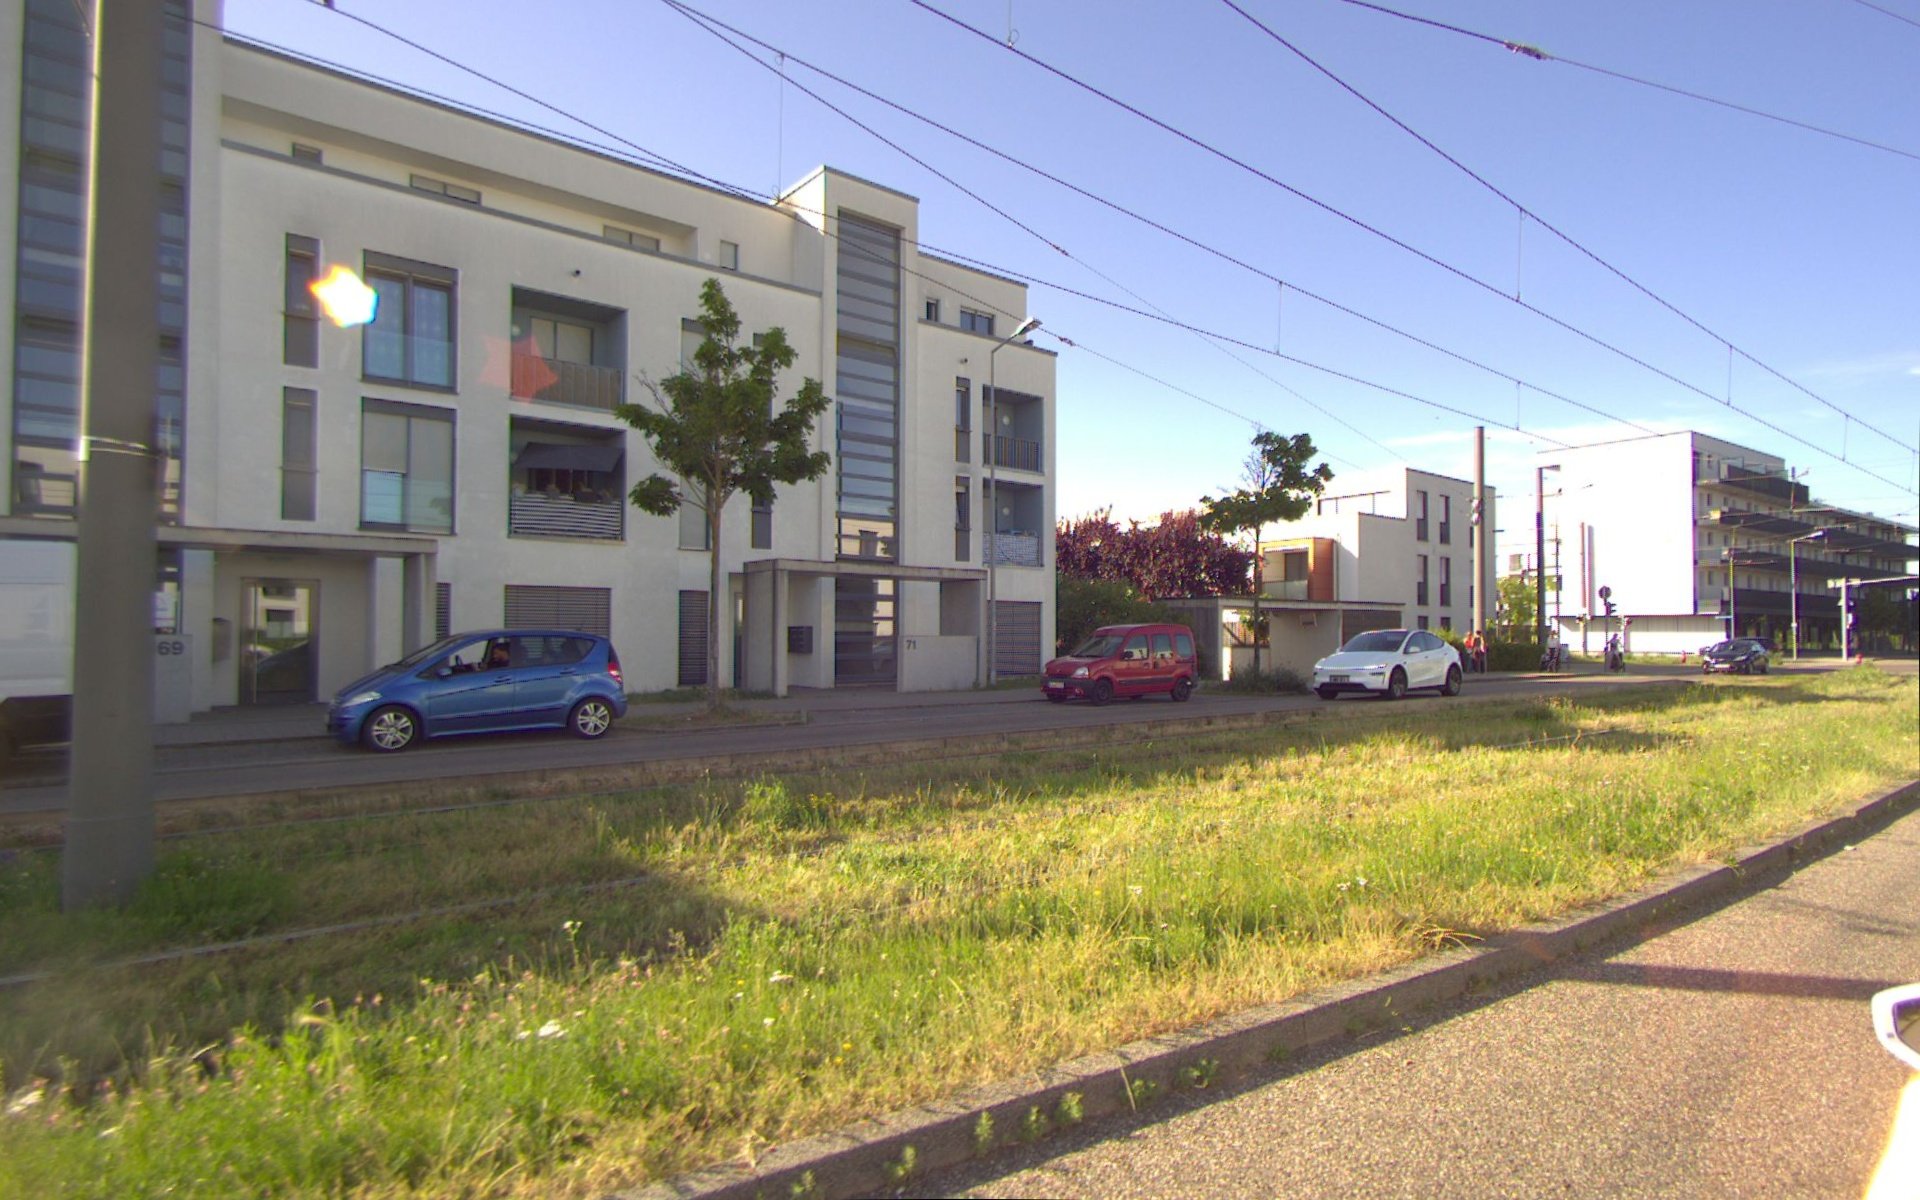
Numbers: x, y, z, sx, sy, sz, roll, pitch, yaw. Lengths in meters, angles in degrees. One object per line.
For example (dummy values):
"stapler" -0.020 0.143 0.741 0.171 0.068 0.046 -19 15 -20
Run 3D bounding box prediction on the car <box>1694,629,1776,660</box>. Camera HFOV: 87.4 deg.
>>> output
"car" 51.975 2.987 67.455 3.924 2.040 1.999 -1 -2 25

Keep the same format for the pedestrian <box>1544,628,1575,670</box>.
"pedestrian" 25.526 2.072 42.756 0.899 1.771 0.811 1 0 -32

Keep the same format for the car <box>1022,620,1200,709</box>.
"car" 3.465 1.389 22.800 3.802 1.819 1.867 1 -1 -37

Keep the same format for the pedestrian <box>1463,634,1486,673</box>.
"pedestrian" 20.105 2.068 39.238 0.606 1.483 0.553 1 0 -36

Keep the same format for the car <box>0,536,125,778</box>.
"car" -11.886 0.550 9.923 5.544 2.477 2.122 1 -1 -40

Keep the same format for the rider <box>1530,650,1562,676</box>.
"rider" 24.628 2.644 42.198 1.034 1.016 0.773 1 0 -33

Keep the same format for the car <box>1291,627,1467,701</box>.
"car" 10.087 1.493 24.057 4.609 1.616 1.977 1 -4 -40

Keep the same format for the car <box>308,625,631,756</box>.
"car" -6.846 1.155 14.169 3.808 1.557 1.810 1 -1 -38

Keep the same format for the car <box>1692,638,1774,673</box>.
"car" 33.210 2.357 43.142 3.963 1.437 1.775 1 -4 -37

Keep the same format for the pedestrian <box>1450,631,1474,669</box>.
"pedestrian" 19.843 1.964 39.732 0.735 1.483 0.553 1 0 -36

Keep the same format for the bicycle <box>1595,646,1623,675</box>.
"bicycle" 30.139 2.784 46.649 0.784 1.238 2.690 1 -1 39

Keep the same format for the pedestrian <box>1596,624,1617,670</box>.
"pedestrian" 29.653 2.149 46.071 0.752 2.040 0.666 1 0 39
